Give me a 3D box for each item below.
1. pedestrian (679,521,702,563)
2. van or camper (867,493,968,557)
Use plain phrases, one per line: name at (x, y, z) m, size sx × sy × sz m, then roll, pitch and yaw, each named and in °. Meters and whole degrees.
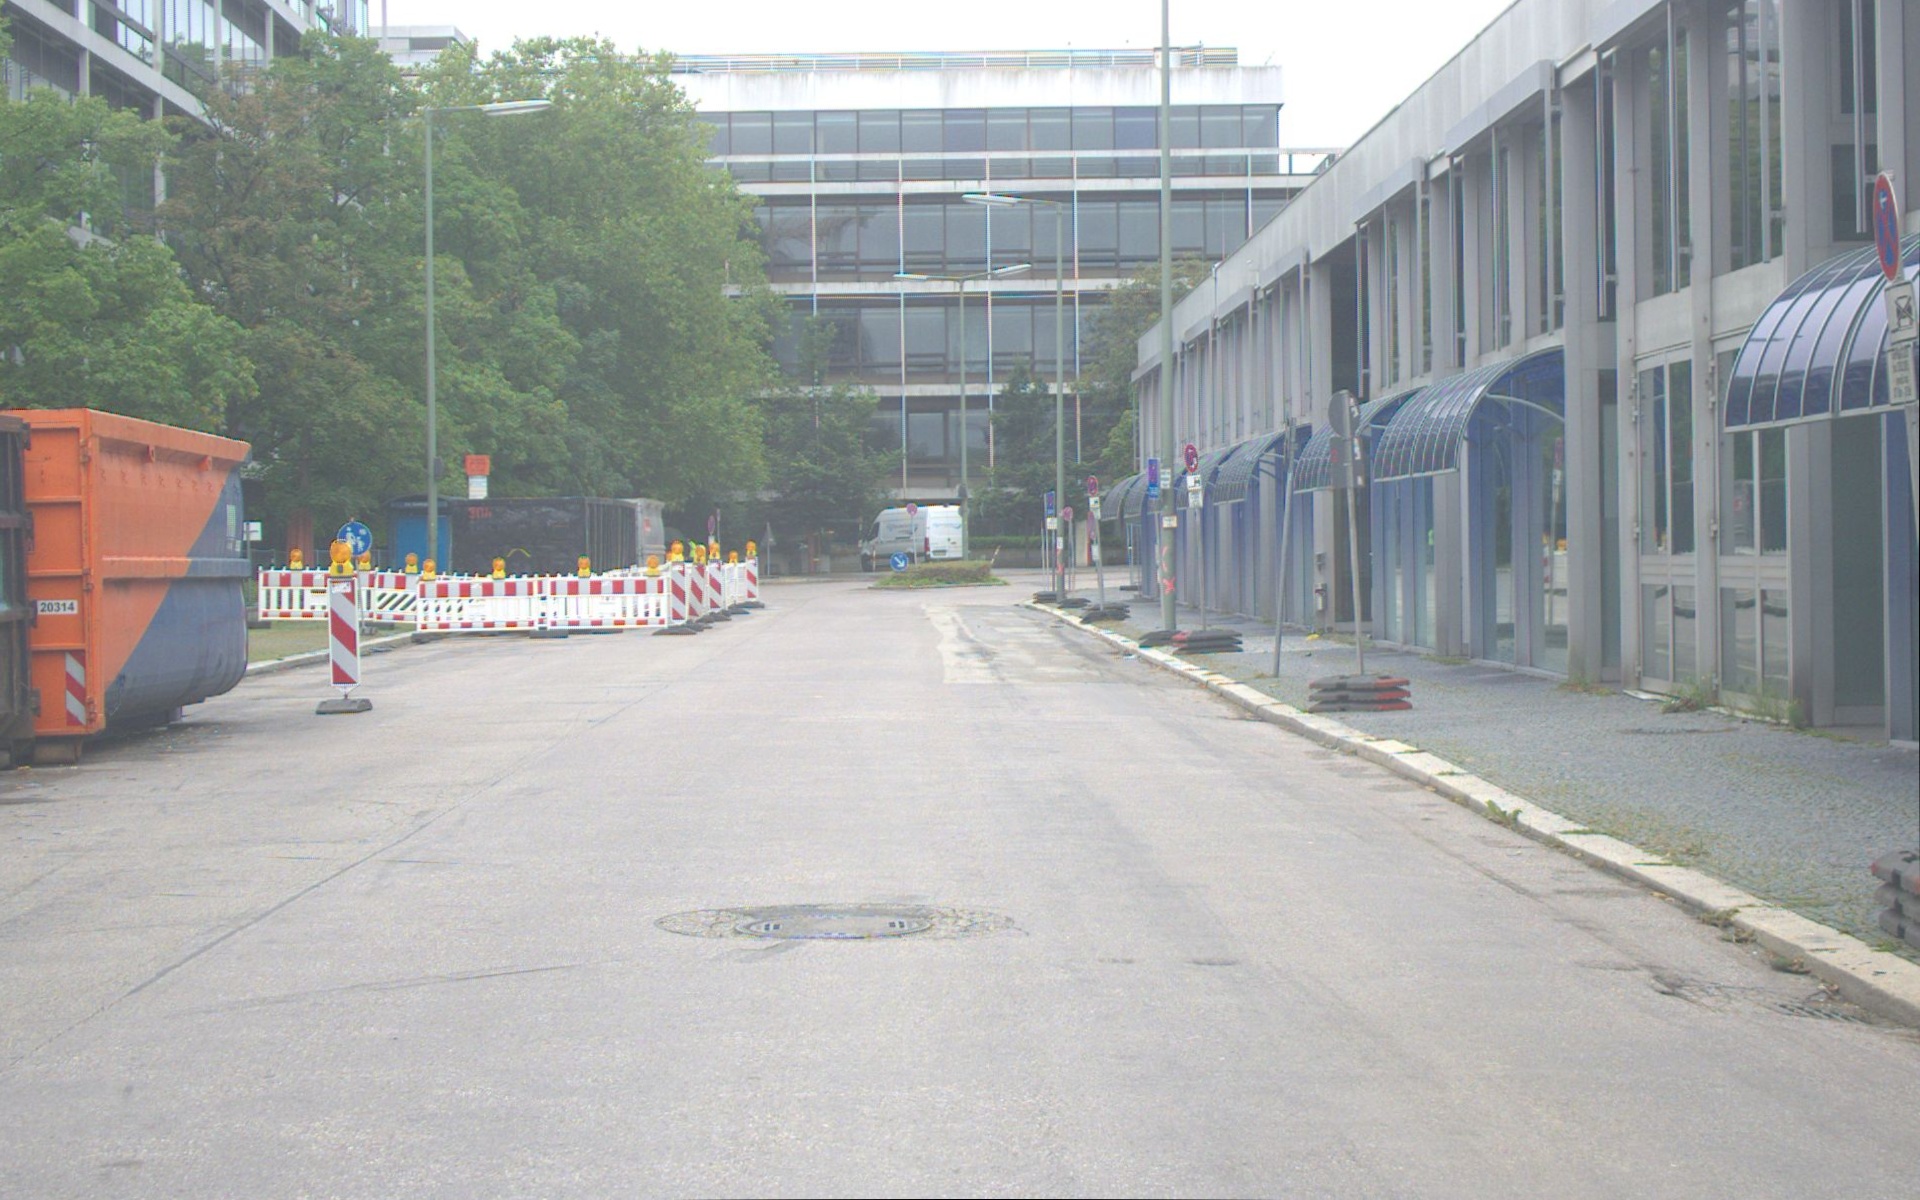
pedestrian at (-10.796, -2.320, 137.830) m, size 0.741 × 1.671 × 0.682 m, roll -1°, pitch 1°, yaw -20°
van or camper at (-1.742, -3.026, 138.848) m, size 2.085 × 2.483 × 5.068 m, roll -1°, pitch 1°, yaw -26°
